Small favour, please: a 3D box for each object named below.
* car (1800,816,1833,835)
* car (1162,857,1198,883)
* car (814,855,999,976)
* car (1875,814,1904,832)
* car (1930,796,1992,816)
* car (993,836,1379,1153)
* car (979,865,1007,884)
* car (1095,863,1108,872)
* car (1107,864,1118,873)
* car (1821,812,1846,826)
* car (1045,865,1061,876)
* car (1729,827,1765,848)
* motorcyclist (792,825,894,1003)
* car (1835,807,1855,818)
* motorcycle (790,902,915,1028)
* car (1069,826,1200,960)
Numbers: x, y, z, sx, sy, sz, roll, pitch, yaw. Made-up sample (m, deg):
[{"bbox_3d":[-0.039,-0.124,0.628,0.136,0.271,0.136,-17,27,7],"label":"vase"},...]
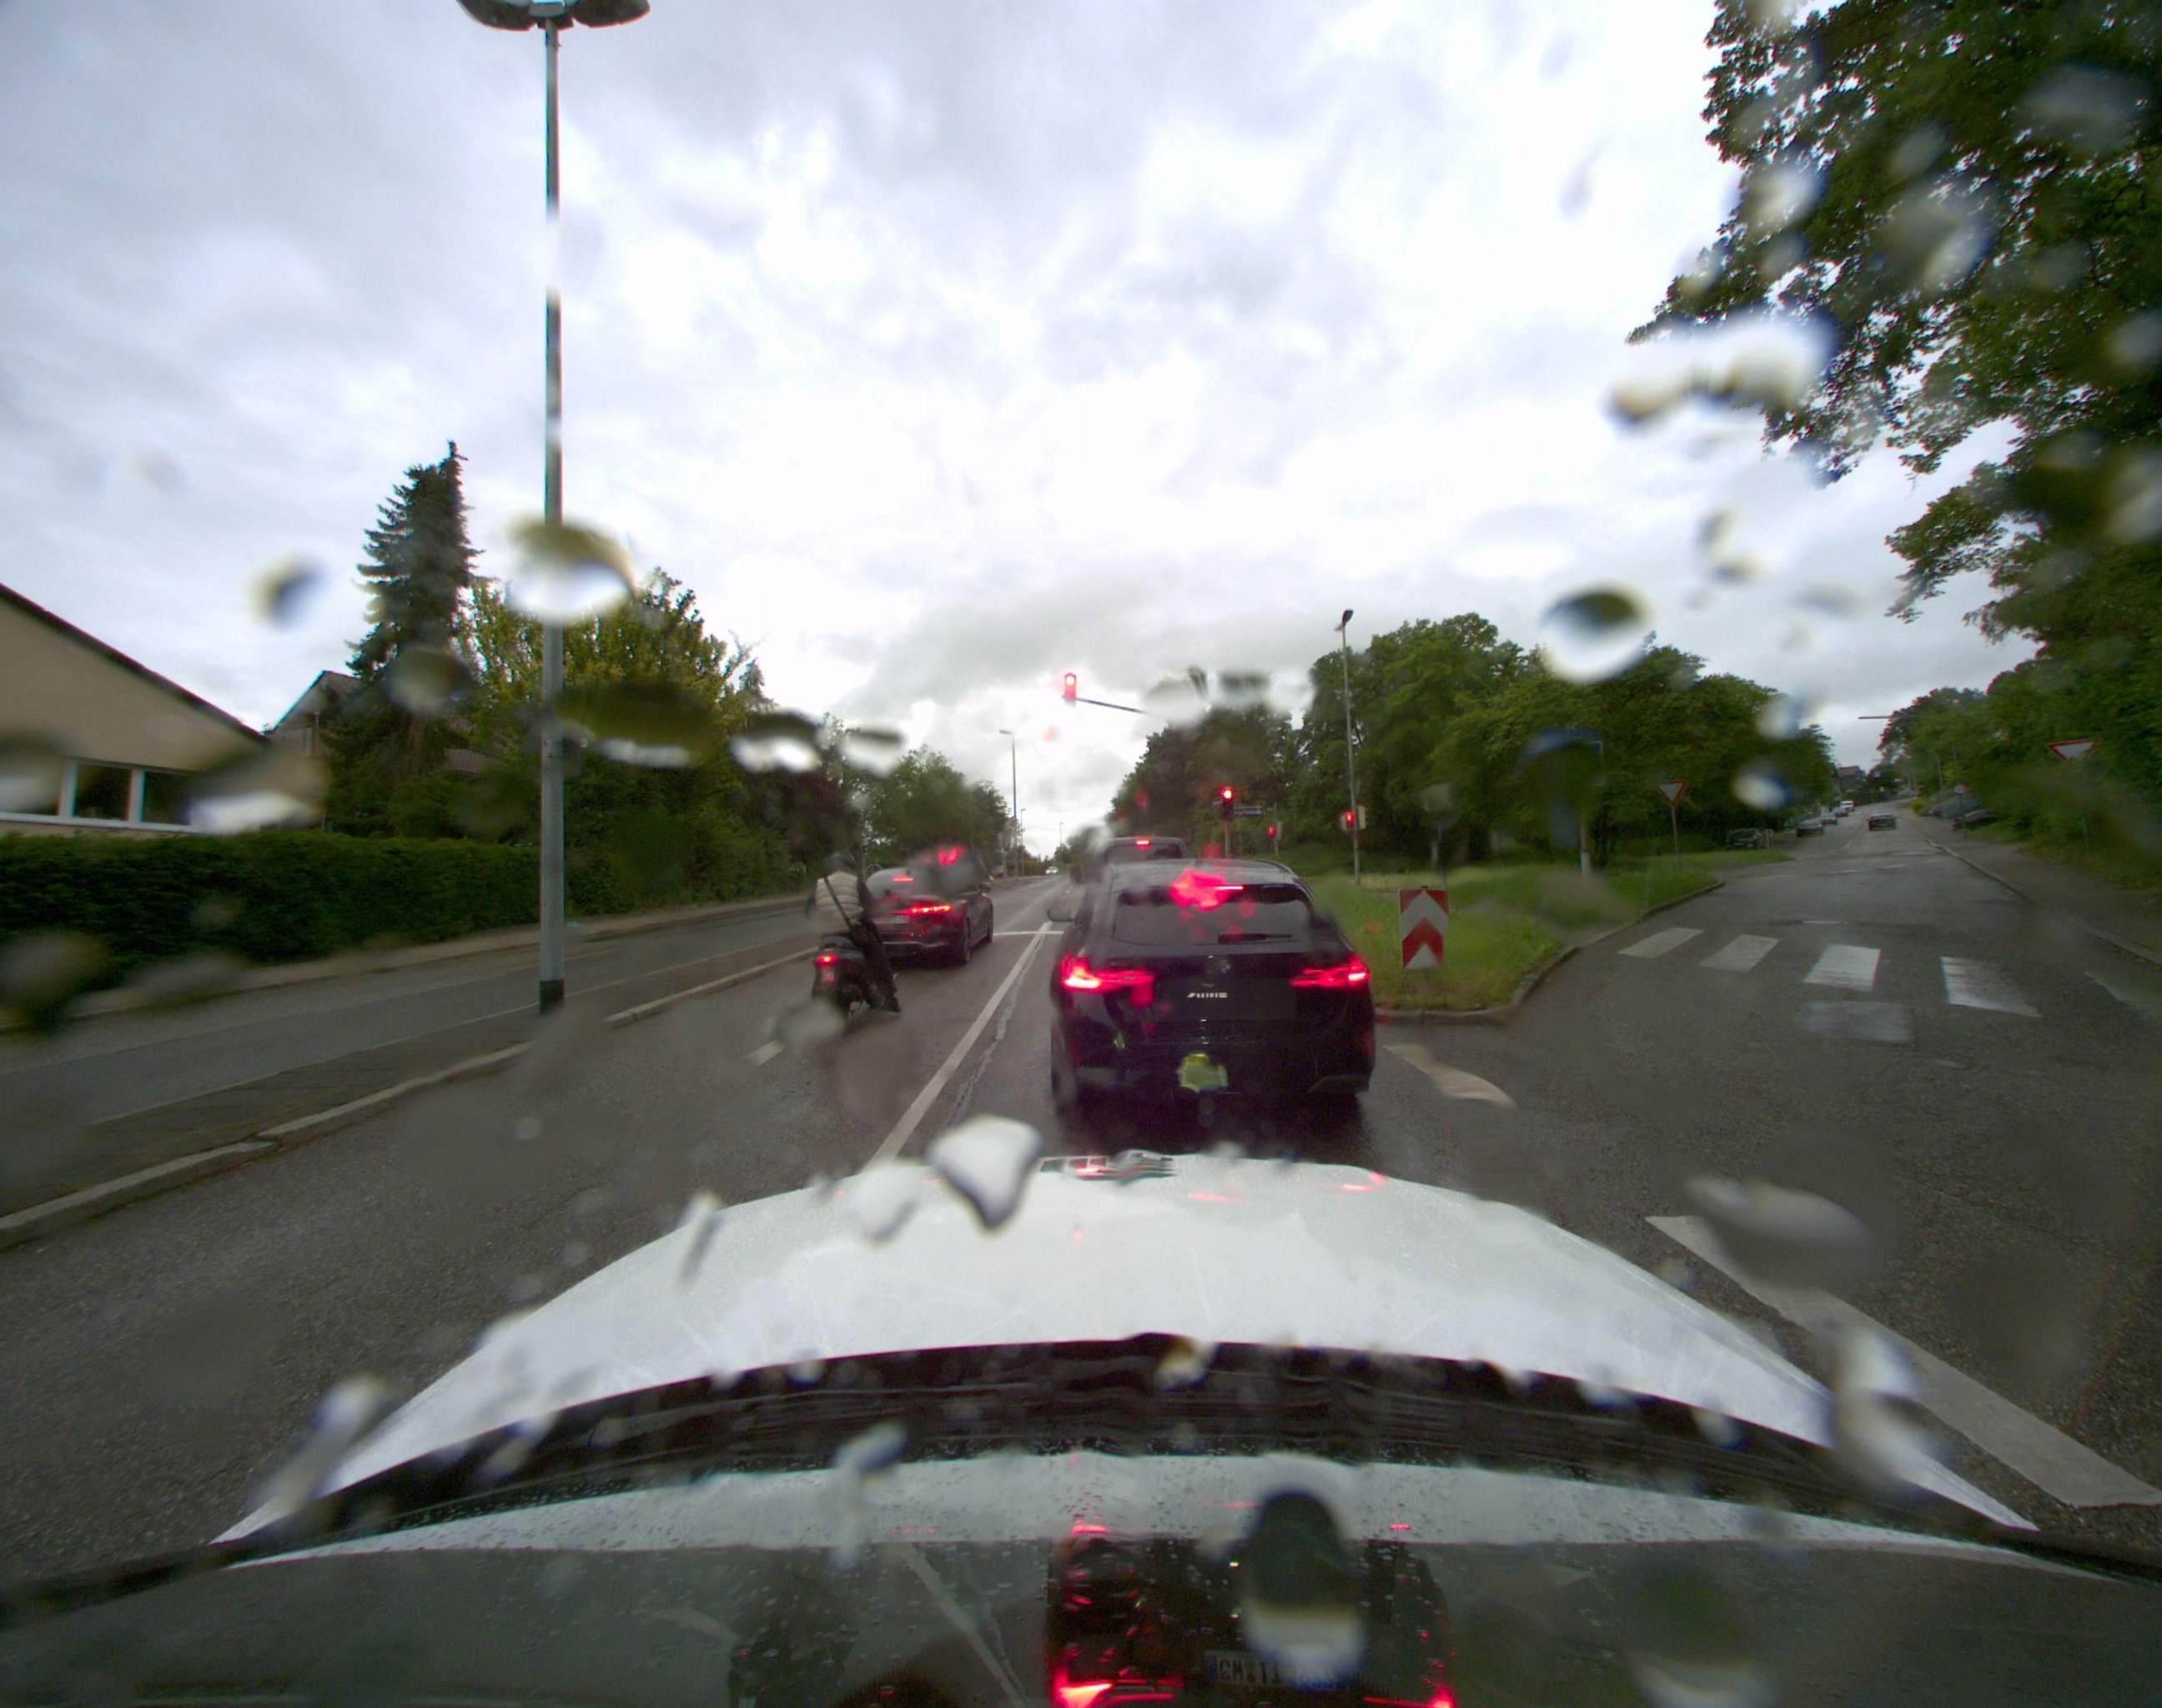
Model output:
[{"bbox_3d":[66.285,-2.551,73.394,4.318,1.450,1.881,0,-1,-44],"label":"car"},{"bbox_3d":[6.340,1.016,52.422,1.866,1.543,3.954,-4,-1,2],"label":"car"},{"bbox_3d":[-2.596,0.860,13.248,1.987,1.527,4.326,-4,-1,0],"label":"car"},{"bbox_3d":[73.616,-2.851,74.110,4.187,1.442,1.795,-4,1,-44],"label":"car"},{"bbox_3d":[87.625,-4.733,81.166,3.949,1.574,1.785,-5,-1,42],"label":"car"},{"bbox_3d":[0.724,0.745,6.374,1.889,1.551,4.621,-1,-1,5],"label":"car"},{"bbox_3d":[-9.308,2.182,86.245,1.984,1.826,4.006,-4,-1,6],"label":"car"},{"bbox_3d":[4.522,3.031,178.002,2.094,1.765,4.879,-4,-1,9],"label":"car"},{"bbox_3d":[5.372,2.431,138.250,1.691,1.427,3.515,-4,-1,2],"label":"car"},{"bbox_3d":[88.219,-4.088,95.522,1.971,1.446,4.321,-2,-1,40],"label":"car"},{"bbox_3d":[-4.723,2.814,139.177,1.982,1.611,3.680,-4,-1,9],"label":"car"},{"bbox_3d":[46.031,-1.153,56.279,1.655,1.370,3.512,-3,0,43],"label":"car"},{"bbox_3d":[-2.301,0.566,7.940,0.762,1.642,0.674,-1,-1,1],"label":"motorcyclist"},{"bbox_3d":[114.513,-6.266,122.044,1.880,1.397,4.193,-2,-1,40],"label":"car"},{"bbox_3d":[-2.201,1.031,8.063,0.688,1.053,1.748,-1,-2,2],"label":"motorcycle"},{"bbox_3d":[0.838,0.569,13.466,1.811,1.868,3.954,-1,-1,2],"label":"car"}]
